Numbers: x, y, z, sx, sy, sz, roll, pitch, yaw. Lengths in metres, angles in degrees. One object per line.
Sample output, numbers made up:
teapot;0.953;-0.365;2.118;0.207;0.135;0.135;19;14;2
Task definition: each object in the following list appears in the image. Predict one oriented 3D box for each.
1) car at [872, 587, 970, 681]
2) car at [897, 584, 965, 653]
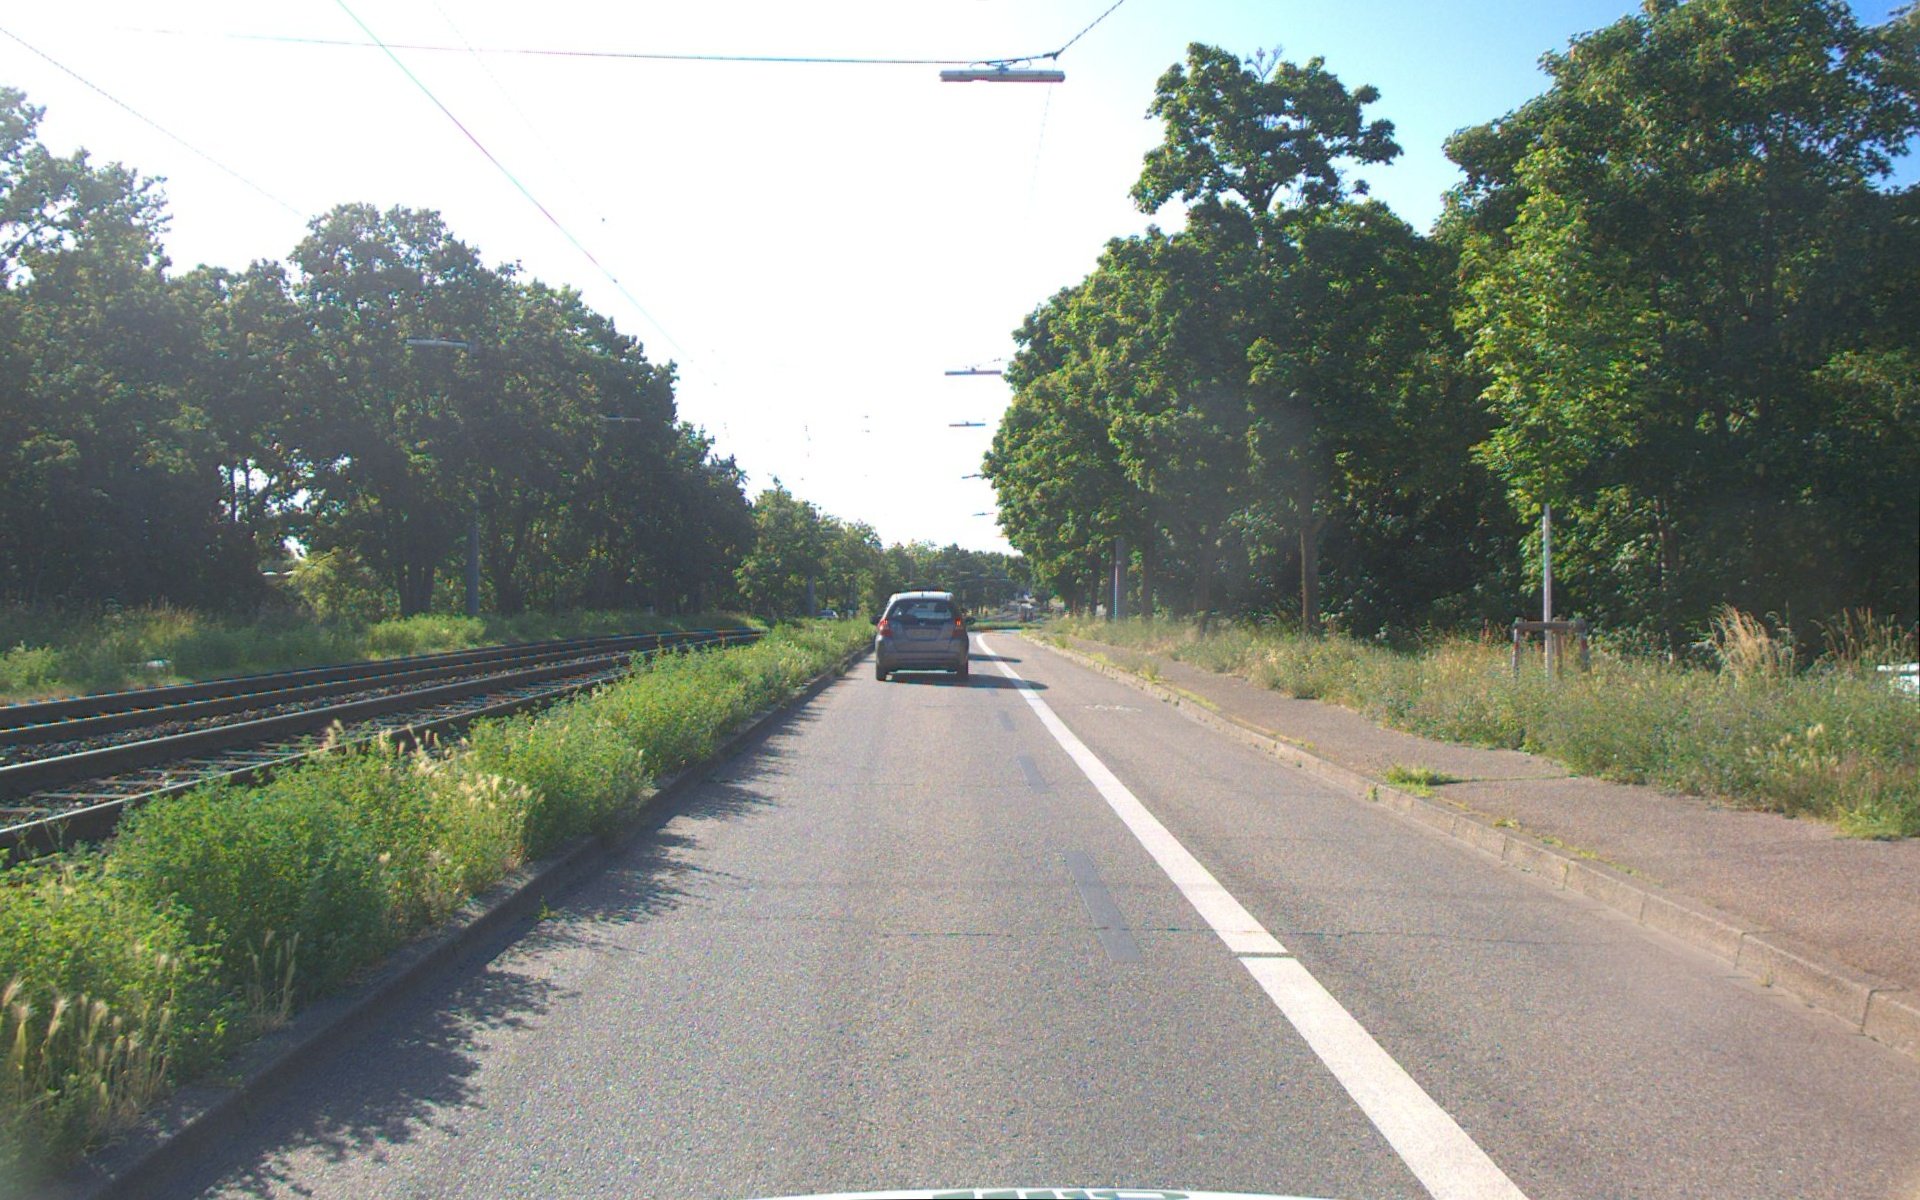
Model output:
car;-0.676;0.562;30.279;1.636;1.534;3.811;2;1;0
car;-0.716;0.438;42.597;1.621;1.533;3.811;2;2;0
